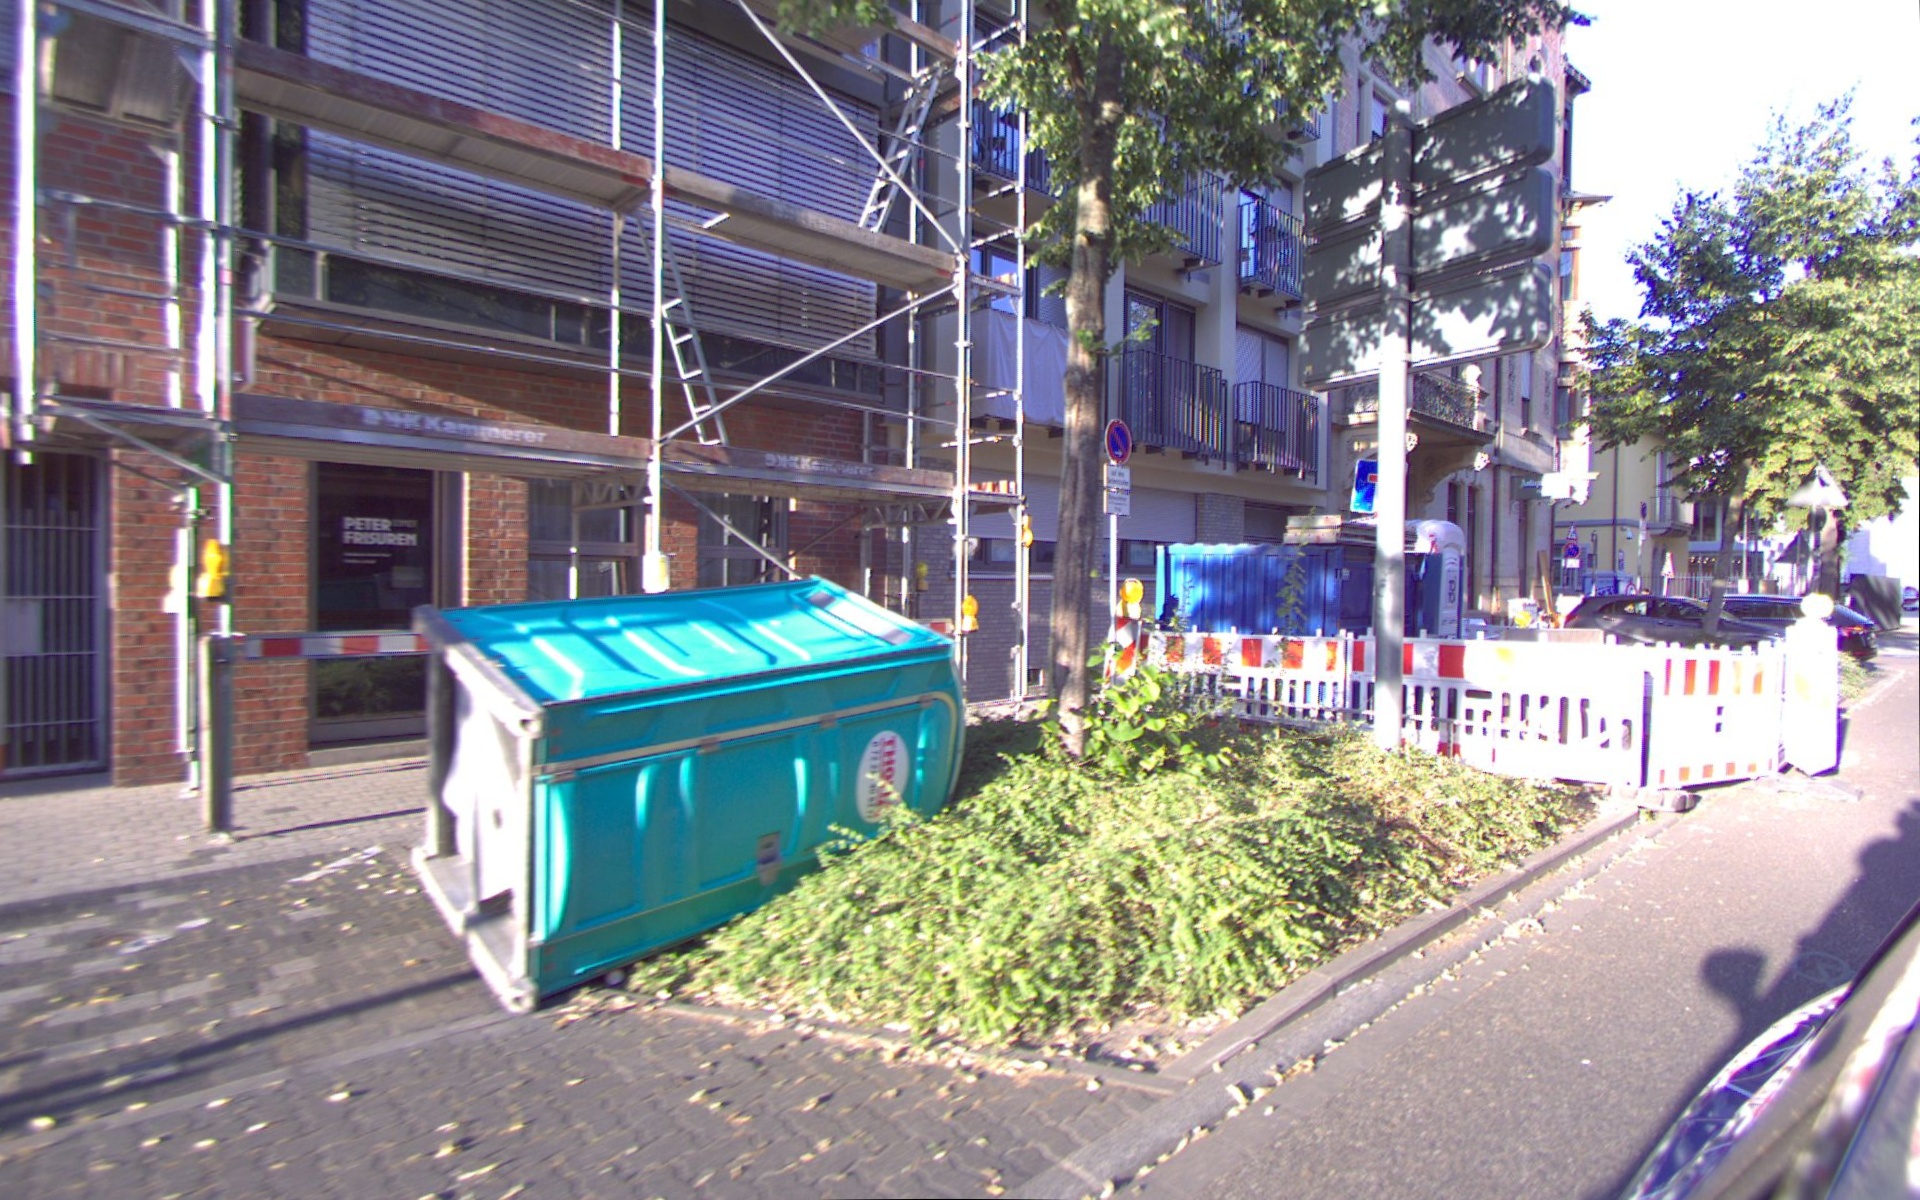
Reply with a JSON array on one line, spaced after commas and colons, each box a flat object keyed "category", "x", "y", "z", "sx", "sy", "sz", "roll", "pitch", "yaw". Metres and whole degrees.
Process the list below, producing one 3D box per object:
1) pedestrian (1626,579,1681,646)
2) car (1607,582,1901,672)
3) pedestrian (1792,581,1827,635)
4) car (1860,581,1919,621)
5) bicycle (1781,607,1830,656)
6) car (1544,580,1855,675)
[{"category": "pedestrian", "x": 17.566, "y": 0.311, "z": 25.637, "sx": 0.943, "sy": 1.679, "sz": 0.639, "roll": 0, "pitch": 0, "yaw": 6}, {"category": "car", "x": 16.315, "y": 0.465, "z": 20.984, "sx": 1.879, "sy": 1.529, "sz": 4.533, "roll": 0, "pitch": 2, "yaw": -42}, {"category": "pedestrian", "x": 26.149, "y": 0.244, "z": 31.163, "sx": 0.459, "sy": 1.614, "sz": 0.674, "roll": 0, "pitch": 1, "yaw": -30}, {"category": "car", "x": 44.557, "y": 0.027, "z": 48.215, "sx": 3.989, "sy": 1.757, "sz": 1.709, "roll": -1, "pitch": 4, "yaw": -37}, {"category": "bicycle", "x": 19.034, "y": 0.691, "z": 22.763, "sx": 1.802, "sy": 1.026, "sz": 0.638, "roll": 0, "pitch": 1, "yaw": -44}, {"category": "car", "x": 14.147, "y": 0.427, "z": 19.613, "sx": 1.834, "sy": 1.497, "sz": 4.537, "roll": -1, "pitch": 3, "yaw": -39}]
